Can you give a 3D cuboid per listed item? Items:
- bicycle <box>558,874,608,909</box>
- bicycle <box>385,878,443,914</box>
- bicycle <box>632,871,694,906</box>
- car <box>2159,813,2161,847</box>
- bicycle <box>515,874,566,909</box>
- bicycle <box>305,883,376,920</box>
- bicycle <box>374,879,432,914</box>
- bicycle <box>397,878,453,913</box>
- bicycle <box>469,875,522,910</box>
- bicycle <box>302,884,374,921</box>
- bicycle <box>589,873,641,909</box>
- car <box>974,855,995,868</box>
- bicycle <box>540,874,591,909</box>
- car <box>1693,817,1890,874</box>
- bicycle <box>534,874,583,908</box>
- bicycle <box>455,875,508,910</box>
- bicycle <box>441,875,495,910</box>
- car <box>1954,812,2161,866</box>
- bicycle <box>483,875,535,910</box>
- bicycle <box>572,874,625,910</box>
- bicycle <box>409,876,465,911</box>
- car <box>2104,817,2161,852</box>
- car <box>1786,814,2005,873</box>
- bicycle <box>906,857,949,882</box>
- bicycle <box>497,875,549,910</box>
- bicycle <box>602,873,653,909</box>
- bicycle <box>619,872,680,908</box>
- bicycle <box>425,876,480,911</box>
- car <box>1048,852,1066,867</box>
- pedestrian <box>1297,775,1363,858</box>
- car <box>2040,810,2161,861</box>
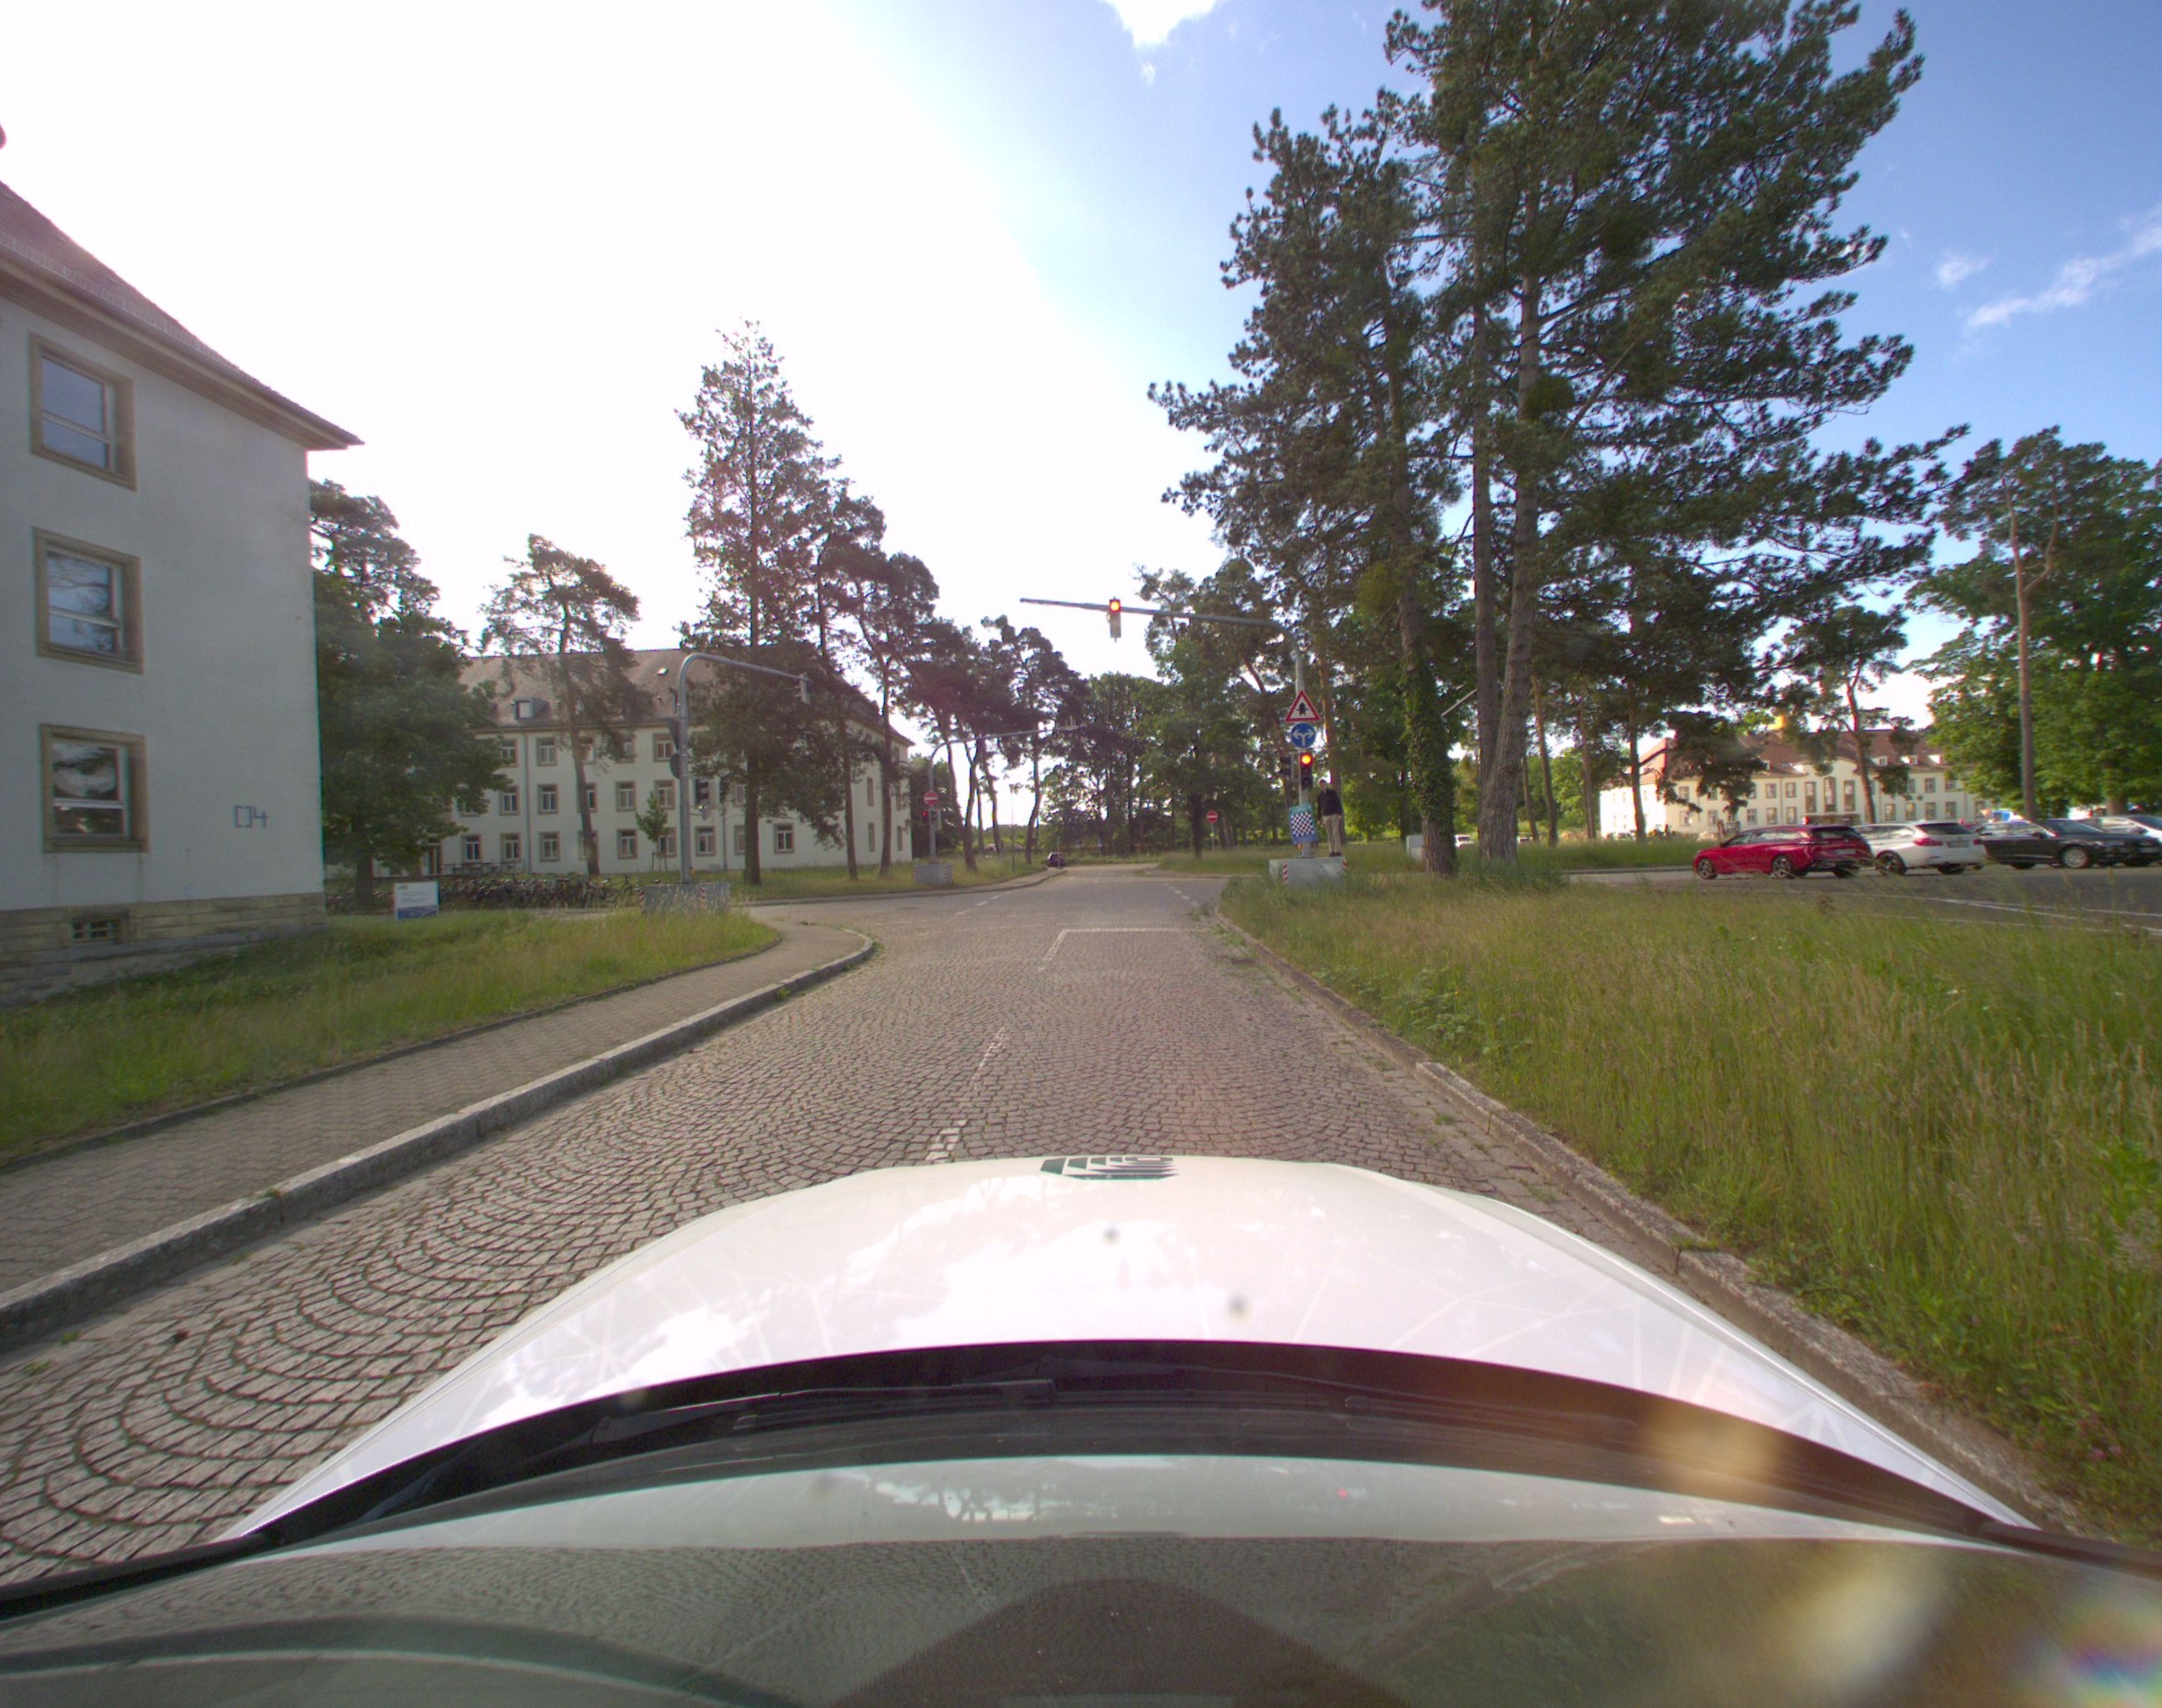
[{"bbox_3d":[-18.904,1.402,30.959,0.570,1.220,1.990,-2,0,2],"label":"bicycle"},{"bbox_3d":[-25.612,1.594,31.315,0.512,1.220,1.938,-2,0,2],"label":"bicycle"},{"bbox_3d":[-15.617,1.284,30.470,1.937,1.220,0.635,-2,0,1],"label":"bicycle"},{"bbox_3d":[47.904,-1.061,33.450,1.717,1.468,4.243,-1,0,2],"label":"car"},{"bbox_3d":[-20.727,1.430,31.269,0.512,1.220,2.016,-2,0,2],"label":"bicycle"},{"bbox_3d":[-27.435,1.740,30.201,1.836,1.220,0.510,-2,0,-34],"label":"bicycle"},{"bbox_3d":[-26.059,1.602,31.330,0.512,1.220,1.938,-2,0,2],"label":"bicycle"},{"bbox_3d":[-25.183,1.587,31.307,0.512,1.220,1.938,-2,0,2],"label":"bicycle"},{"bbox_3d":[-22.421,1.451,31.214,0.512,1.220,1.955,-2,0,2],"label":"bicycle"},{"bbox_3d":[-27.053,1.743,29.686,1.836,1.220,0.510,-2,0,-34],"label":"bicycle"},{"bbox_3d":[-17.458,1.380,30.540,0.630,1.220,2.125,-2,0,2],"label":"bicycle"},{"bbox_3d":[-10.398,0.783,87.766,1.704,1.274,3.918,-2,0,0],"label":"car"},{"bbox_3d":[-19.647,1.415,31.103,0.576,1.220,2.030,-2,0,2],"label":"bicycle"},{"bbox_3d":[19.288,-0.187,22.421,1.740,1.399,4.329,-1,-1,2],"label":"car"},{"bbox_3d":[-20.206,1.419,31.535,0.546,1.220,1.900,-2,0,2],"label":"bicycle"},{"bbox_3d":[-22.975,1.460,31.235,0.512,1.220,1.938,-2,0,2],"label":"bicycle"},{"bbox_3d":[-23.520,1.469,31.267,0.512,1.220,1.938,-2,0,2],"label":"bicycle"},{"bbox_3d":[27.285,-0.400,22.730,1.610,1.315,4.048,-3,0,3],"label":"car"},{"bbox_3d":[-21.894,1.445,31.238,0.512,1.220,1.978,-2,0,2],"label":"bicycle"},{"bbox_3d":[-18.062,1.390,30.558,0.630,1.220,2.105,-2,0,2],"label":"bicycle"},{"bbox_3d":[-24.722,1.488,31.295,0.512,1.220,1.938,-2,0,2],"label":"bicycle"},{"bbox_3d":[44.888,-0.818,32.966,1.717,1.424,4.243,-1,0,2],"label":"car"},{"bbox_3d":[22.132,-0.221,22.421,1.773,1.379,4.240,-2,-2,0],"label":"car"},{"bbox_3d":[-7.063,0.713,37.500,0.627,1.066,1.963,-2,0,40],"label":"bicycle"},{"bbox_3d":[-21.376,1.441,31.234,0.512,1.220,1.978,-2,0,2],"label":"bicycle"},{"bbox_3d":[-16.975,1.371,30.540,0.630,1.220,2.115,-2,0,2],"label":"bicycle"},{"bbox_3d":[-15.743,1.311,29.758,1.855,1.220,0.635,-2,0,1],"label":"bicycle"},{"bbox_3d":[-24.112,1.478,31.296,0.512,1.220,1.938,-2,0,2],"label":"bicycle"},{"bbox_3d":[-2.525,0.556,86.815,1.704,1.496,3.918,-2,0,0],"label":"car"},{"bbox_3d":[5.763,-0.842,18.838,1.157,1.796,1.069,-3,0,31],"label":"pedestrian"},{"bbox_3d":[30.118,-0.509,23.011,1.716,1.372,3.796,-1,0,4],"label":"car"}]
